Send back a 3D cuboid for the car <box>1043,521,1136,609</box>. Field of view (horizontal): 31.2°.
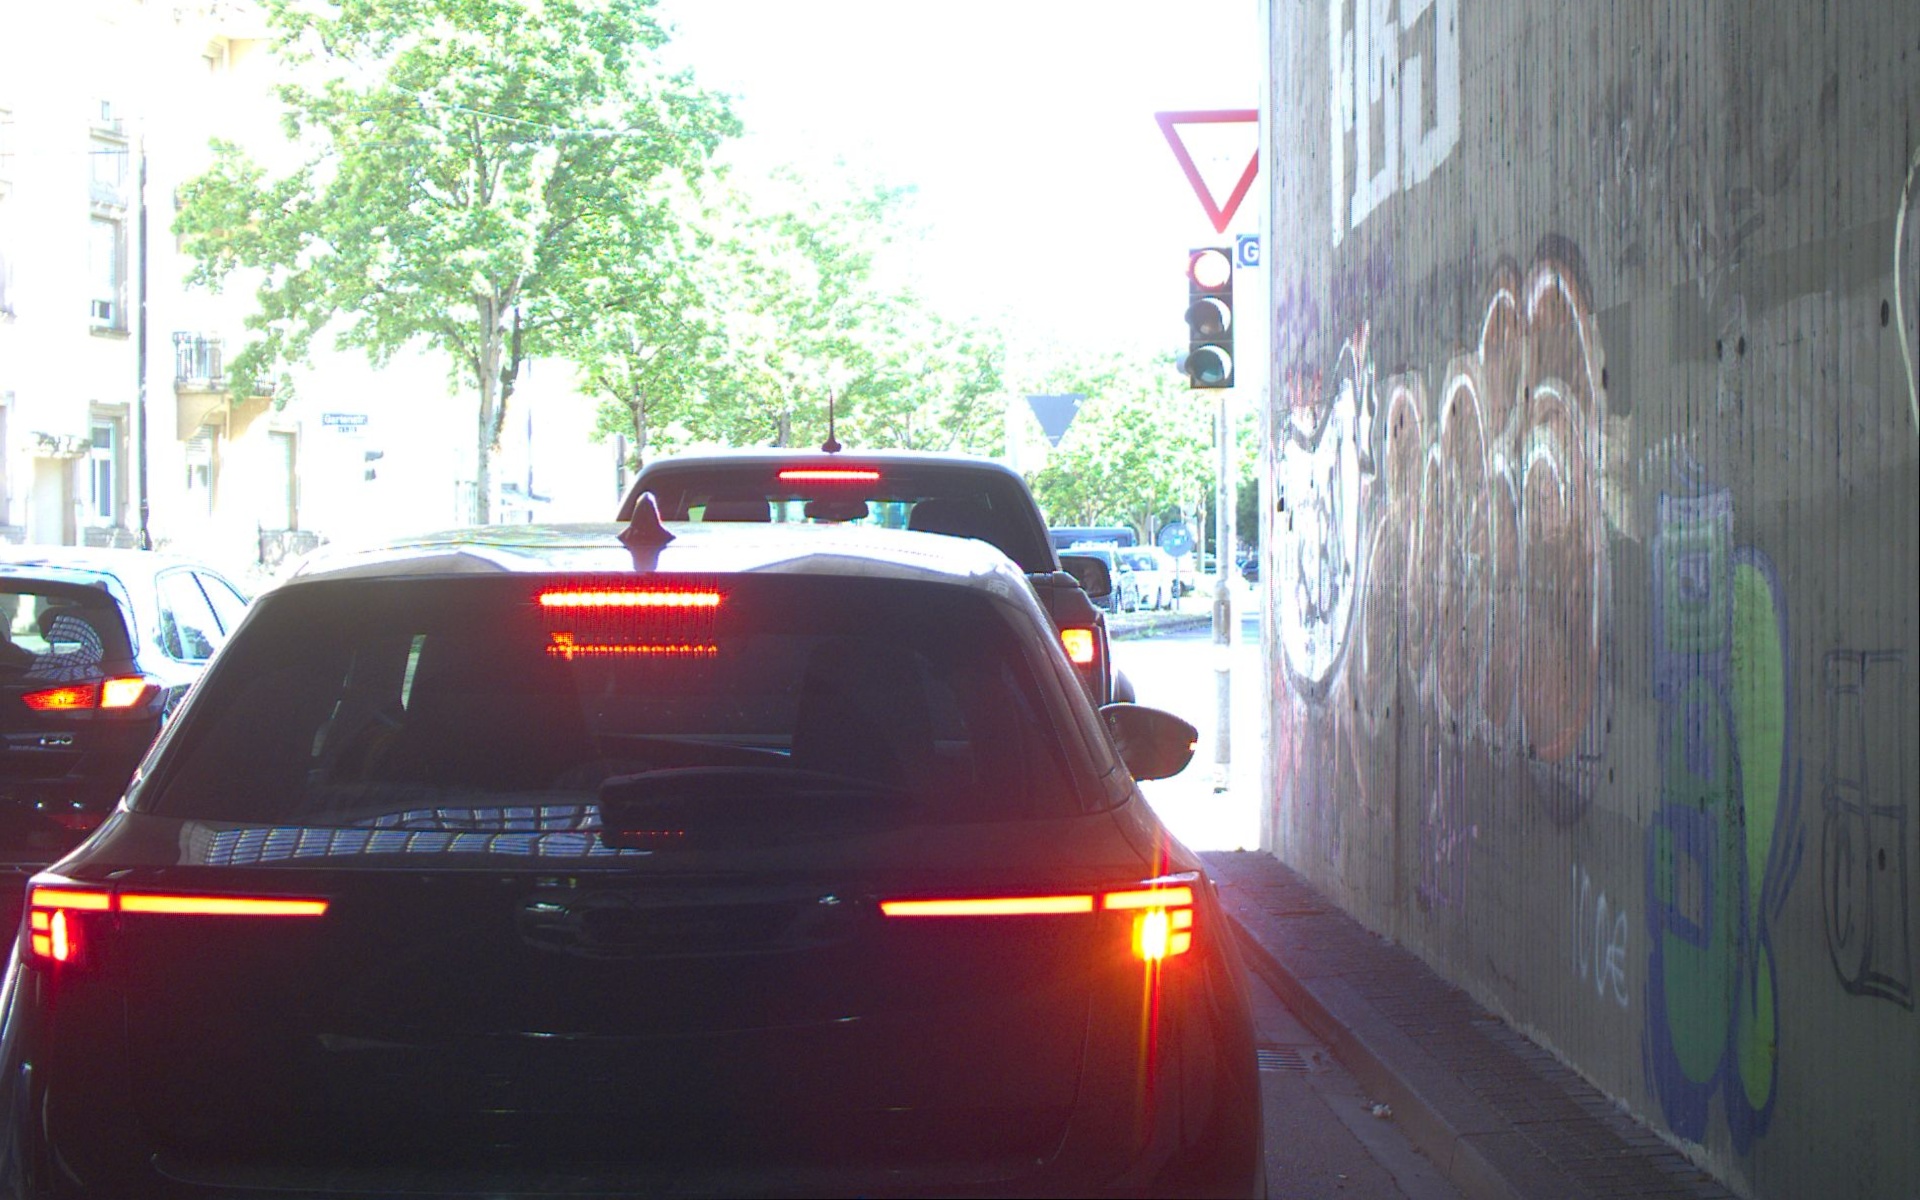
[{"bbox_3d":[2.601,-0.693,68.286,1.754,1.661,3.944,1,1,3],"label":"car"}]

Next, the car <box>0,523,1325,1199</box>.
[{"bbox_3d":[-0.479,0.642,6.071,1.762,1.526,4.089,0,1,-1],"label":"car"}]

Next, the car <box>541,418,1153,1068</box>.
[{"bbox_3d":[-0.350,0.380,12.012,1.762,1.876,4.146,0,1,-1],"label":"car"}]

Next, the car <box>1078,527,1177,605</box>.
[{"bbox_3d":[3.717,-0.752,75.860,1.754,1.661,3.943,1,1,9],"label":"car"}]

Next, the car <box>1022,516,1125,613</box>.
[{"bbox_3d":[2.080,-0.640,62.167,1.754,1.661,3.944,1,1,3],"label":"car"}]

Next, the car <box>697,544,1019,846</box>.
[{"bbox_3d":[-0.535,0.443,19.232,1.609,1.508,4.054,0,1,-1],"label":"car"}]

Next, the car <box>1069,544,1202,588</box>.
[{"bbox_3d":[6.834,-1.326,133.746,4.798,1.661,1.824,1,1,-21],"label":"car"}]

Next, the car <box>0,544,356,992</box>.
[{"bbox_3d":[-3.527,0.522,13.260,1.762,1.475,3.844,0,1,-1],"label":"car"}]

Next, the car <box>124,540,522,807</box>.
[{"bbox_3d":[-3.777,0.377,20.984,1.762,1.475,3.844,0,1,-1],"label":"car"}]
